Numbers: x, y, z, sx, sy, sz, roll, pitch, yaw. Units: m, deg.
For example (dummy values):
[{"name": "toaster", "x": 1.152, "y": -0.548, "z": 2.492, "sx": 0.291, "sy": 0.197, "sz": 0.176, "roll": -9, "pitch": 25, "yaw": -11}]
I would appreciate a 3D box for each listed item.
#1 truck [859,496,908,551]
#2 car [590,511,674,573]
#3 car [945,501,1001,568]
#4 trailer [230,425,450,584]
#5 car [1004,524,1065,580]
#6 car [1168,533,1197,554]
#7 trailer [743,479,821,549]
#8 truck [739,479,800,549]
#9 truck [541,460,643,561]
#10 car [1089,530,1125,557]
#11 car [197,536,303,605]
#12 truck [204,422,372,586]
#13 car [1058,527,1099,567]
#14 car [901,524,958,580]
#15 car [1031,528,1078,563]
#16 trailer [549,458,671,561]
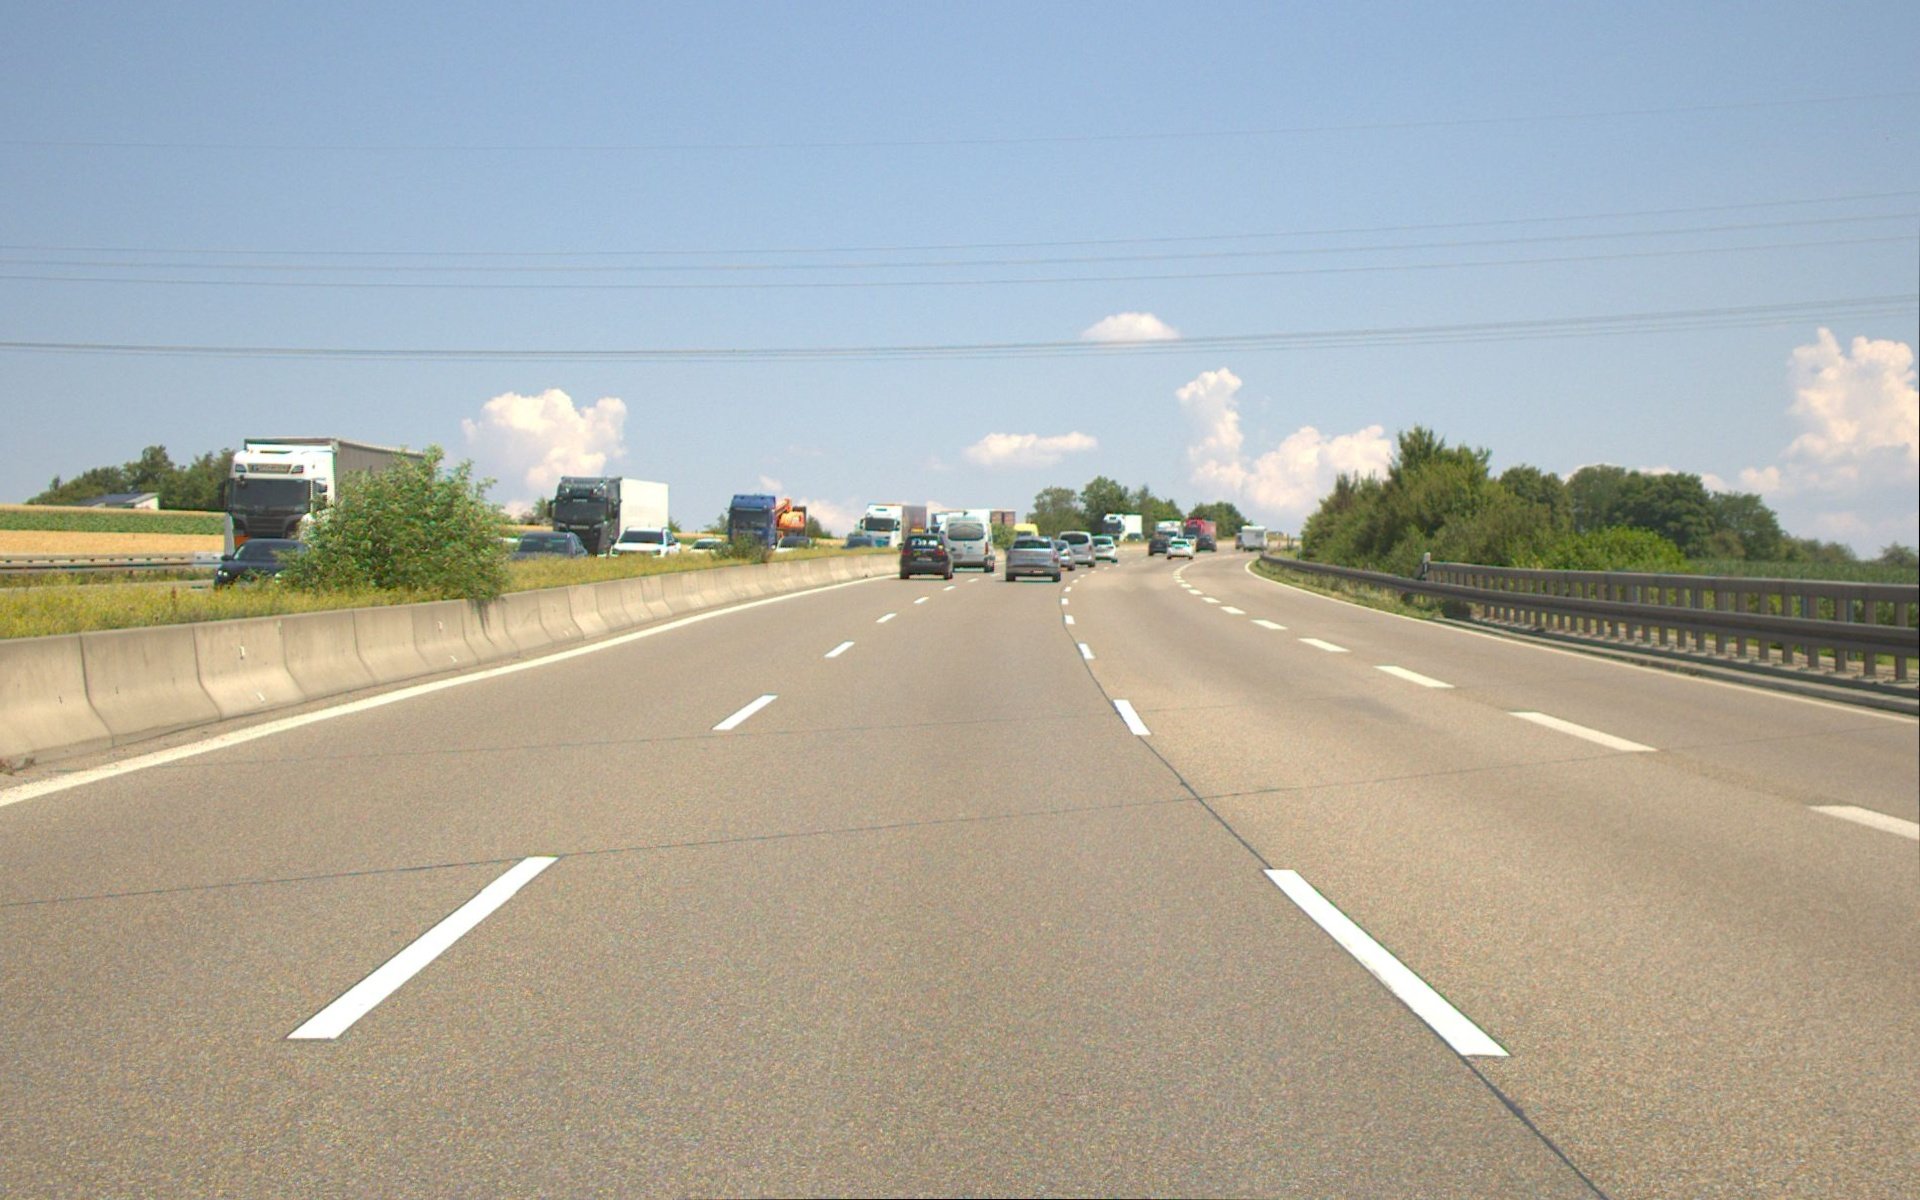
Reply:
[{"name": "truck", "x": -5.766, "y": -5.769, "z": 260.280, "sx": 2.853, "sy": 4.013, "sz": 6.513, "roll": 1, "pitch": 1, "yaw": 6}, {"name": "car", "x": -10.534, "y": -1.839, "z": 110.832, "sx": 1.993, "sy": 1.897, "sz": 5.676, "roll": 1, "pitch": 0, "yaw": 2}, {"name": "car", "x": 0.579, "y": -2.820, "z": 148.817, "sx": 2.180, "sy": 2.616, "sz": 4.671, "roll": 1, "pitch": -2, "yaw": 2}, {"name": "trailer", "x": -18.086, "y": -2.715, "z": 101.591, "sx": 3.124, "sy": 4.309, "sz": 14.543, "roll": 1, "pitch": 1, "yaw": 3}, {"name": "car", "x": 2.574, "y": -1.666, "z": 119.595, "sx": 1.993, "sy": 1.744, "sz": 4.000, "roll": 1, "pitch": -2, "yaw": 0}, {"name": "car", "x": 15.735, "y": -3.998, "z": 242.844, "sx": 1.902, "sy": 1.437, "sz": 3.999, "roll": 1, "pitch": 1, "yaw": 5}, {"name": "trailer", "x": -10.503, "y": -5.028, "z": 204.243, "sx": 2.839, "sy": 3.944, "sz": 13.726, "roll": 1, "pitch": 1, "yaw": 4}, {"name": "truck", "x": -10.943, "y": -4.931, "z": 197.985, "sx": 2.776, "sy": 3.924, "sz": 6.137, "roll": 1, "pitch": 1, "yaw": 3}, {"name": "truck", "x": -15.817, "y": -3.832, "z": 148.085, "sx": 3.227, "sy": 4.192, "sz": 7.126, "roll": 1, "pitch": 1, "yaw": 3}, {"name": "car", "x": 9.034, "y": -3.478, "z": 211.364, "sx": 1.994, "sy": 1.546, "sz": 4.000, "roll": 2, "pitch": 2, "yaw": 5}, {"name": "car", "x": -15.213, "y": -0.659, "z": 73.778, "sx": 1.624, "sy": 1.399, "sz": 3.731, "roll": 1, "pitch": 1, "yaw": -2}, {"name": "truck", "x": -18.436, "y": -2.603, "z": 94.699, "sx": 3.132, "sy": 4.313, "sz": 6.147, "roll": 1, "pitch": 1, "yaw": 3}, {"name": "car", "x": 6.164, "y": -2.768, "z": 178.929, "sx": 1.993, "sy": 1.897, "sz": 4.000, "roll": 1, "pitch": -1, "yaw": 1}, {"name": "car", "x": -1.064, "y": -1.725, "z": 122.356, "sx": 1.847, "sy": 1.854, "sz": 4.205, "roll": 1, "pitch": 2, "yaw": 2}, {"name": "car", "x": 4.404, "y": -2.529, "z": 160.541, "sx": 1.993, "sy": 1.579, "sz": 4.000, "roll": 0, "pitch": 0, "yaw": -1}, {"name": "trailer", "x": -15.611, "y": -4.017, "z": 154.562, "sx": 3.242, "sy": 4.372, "sz": 14.027, "roll": 1, "pitch": 1, "yaw": 3}]
